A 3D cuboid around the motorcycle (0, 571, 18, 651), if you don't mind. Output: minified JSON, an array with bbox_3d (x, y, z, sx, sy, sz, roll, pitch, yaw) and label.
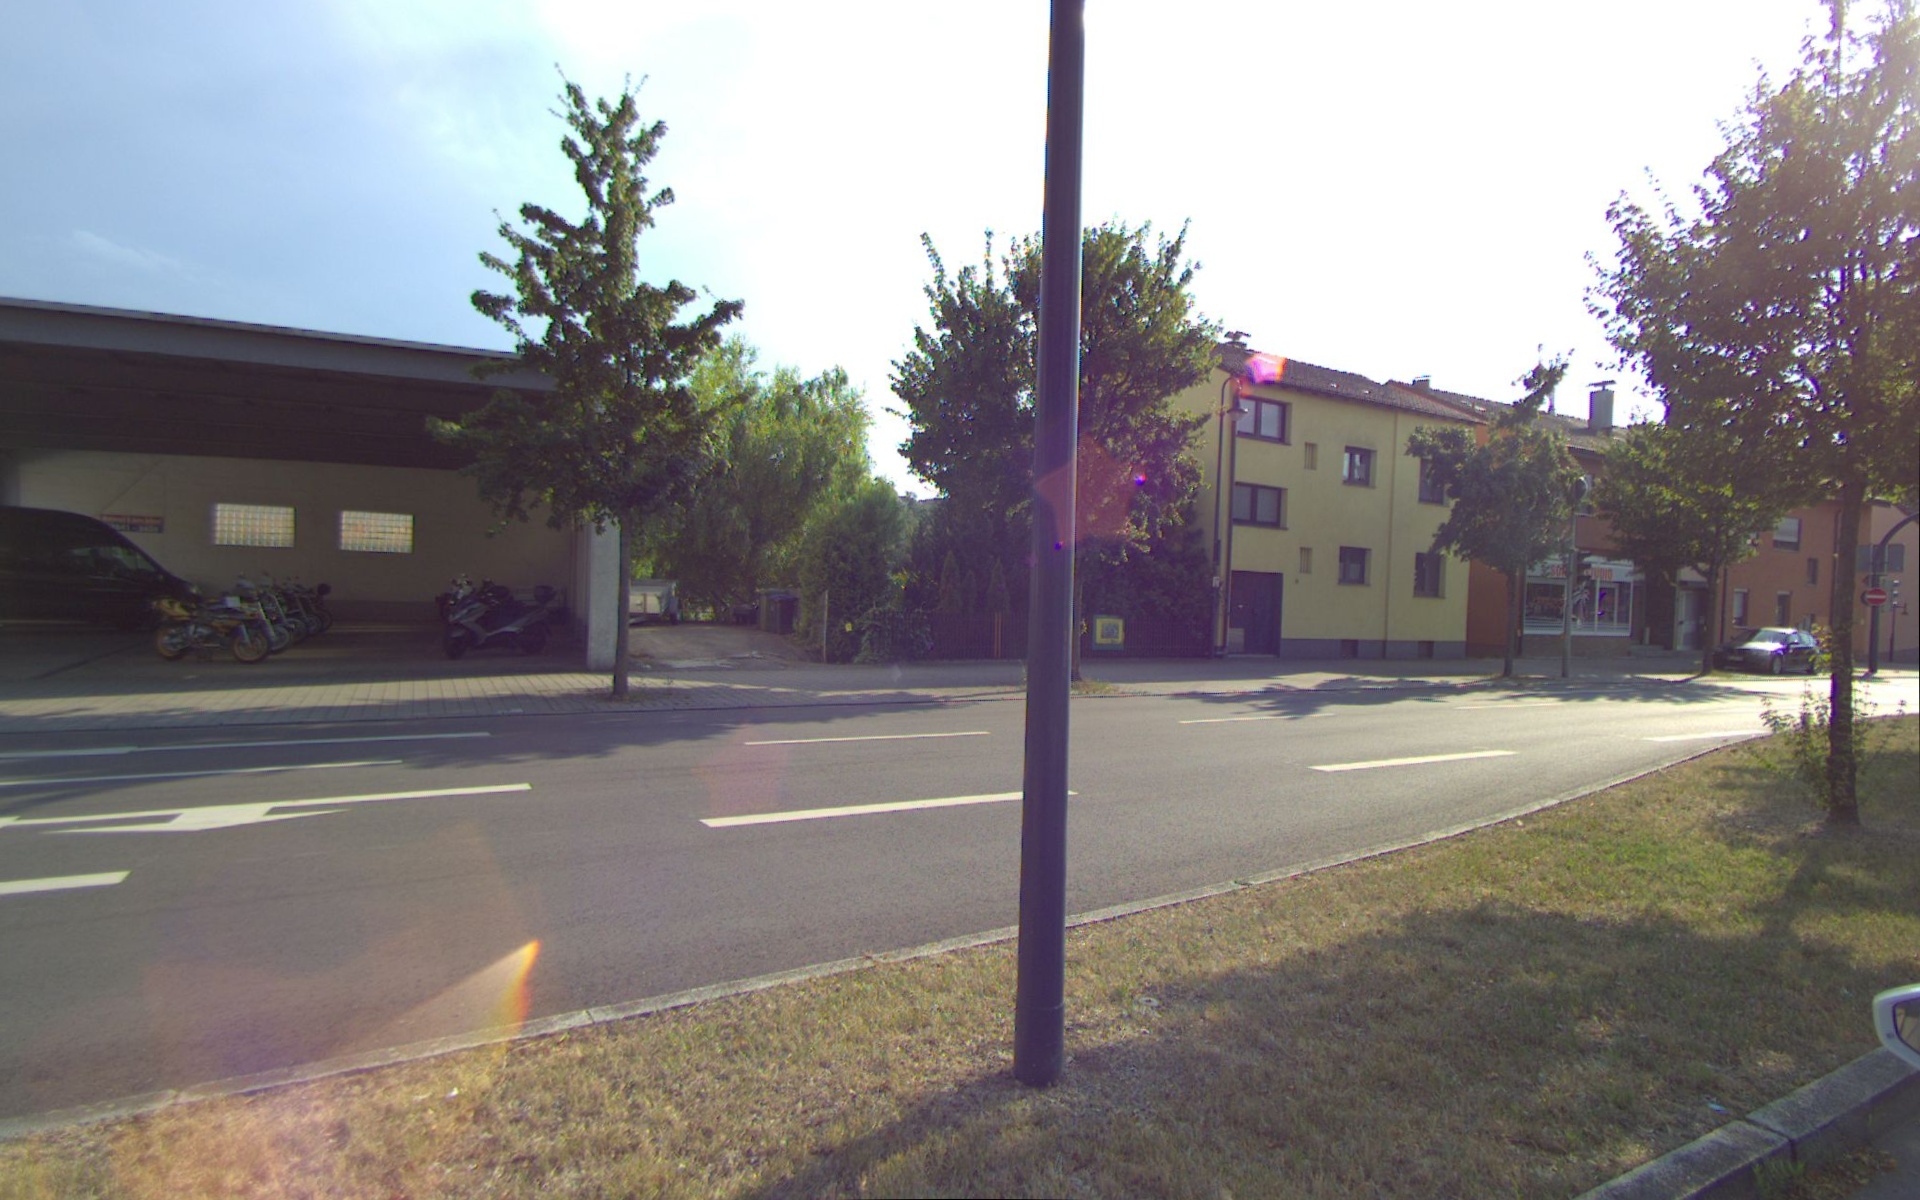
[{"bbox_3d":[-17.275,0.173,16.735,0.619,1.380,2.225,1,0,24],"label":"motorcycle"}]

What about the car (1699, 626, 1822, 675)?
[{"bbox_3d":[25.981,1.598,32.566,3.953,1.319,1.728,1,4,-30],"label":"car"}]

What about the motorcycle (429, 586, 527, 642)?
[{"bbox_3d":[-11.755,0.317,24.548,0.621,1.314,2.113,1,2,36],"label":"motorcycle"}]

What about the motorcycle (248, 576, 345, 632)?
[{"bbox_3d":[-16.897,0.108,25.583,2.219,1.354,0.631,1,0,10],"label":"motorcycle"}]

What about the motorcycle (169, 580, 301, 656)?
[{"bbox_3d":[-13.620,0.323,18.872,2.219,1.354,0.631,1,0,10],"label":"motorcycle"}]

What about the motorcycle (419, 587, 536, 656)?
[{"bbox_3d":[-9.800,0.406,20.470,0.621,1.314,2.113,1,2,36],"label":"motorcycle"}]

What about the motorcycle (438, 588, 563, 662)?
[{"bbox_3d":[-8.607,0.434,18.908,0.621,1.314,2.113,1,2,36],"label":"motorcycle"}]

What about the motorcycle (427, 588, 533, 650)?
[{"bbox_3d":[-10.730,0.388,22.547,0.621,1.314,2.113,1,2,36],"label":"motorcycle"}]

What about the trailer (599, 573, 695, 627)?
[{"bbox_3d":[-8.205,-0.002,26.628,1.698,1.280,3.995,1,0,-7],"label":"trailer"}]

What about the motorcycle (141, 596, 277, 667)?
[{"bbox_3d":[-12.484,0.507,16.707,1.993,1.101,0.631,1,0,12],"label":"motorcycle"}]

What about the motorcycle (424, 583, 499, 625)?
[{"bbox_3d":[-15.948,0.107,32.187,0.621,1.314,2.113,1,2,36],"label":"motorcycle"}]

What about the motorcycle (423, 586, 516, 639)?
[{"bbox_3d":[-12.637,0.297,25.931,0.621,1.314,2.113,1,2,36],"label":"motorcycle"}]

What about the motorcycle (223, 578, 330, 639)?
[{"bbox_3d":[-15.873,0.187,23.324,2.219,1.354,0.631,1,0,10],"label":"motorcycle"}]

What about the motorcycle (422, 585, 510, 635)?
[{"bbox_3d":[-13.501,0.245,27.529,0.621,1.314,2.113,1,2,36],"label":"motorcycle"}]

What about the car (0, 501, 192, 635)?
[{"bbox_3d":[-20.441,-0.676,22.102,1.962,2.789,5.280,1,0,26],"label":"car"}]

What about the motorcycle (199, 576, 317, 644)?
[{"bbox_3d":[-14.741,0.209,21.115,2.219,1.354,0.631,1,0,10],"label":"motorcycle"}]
